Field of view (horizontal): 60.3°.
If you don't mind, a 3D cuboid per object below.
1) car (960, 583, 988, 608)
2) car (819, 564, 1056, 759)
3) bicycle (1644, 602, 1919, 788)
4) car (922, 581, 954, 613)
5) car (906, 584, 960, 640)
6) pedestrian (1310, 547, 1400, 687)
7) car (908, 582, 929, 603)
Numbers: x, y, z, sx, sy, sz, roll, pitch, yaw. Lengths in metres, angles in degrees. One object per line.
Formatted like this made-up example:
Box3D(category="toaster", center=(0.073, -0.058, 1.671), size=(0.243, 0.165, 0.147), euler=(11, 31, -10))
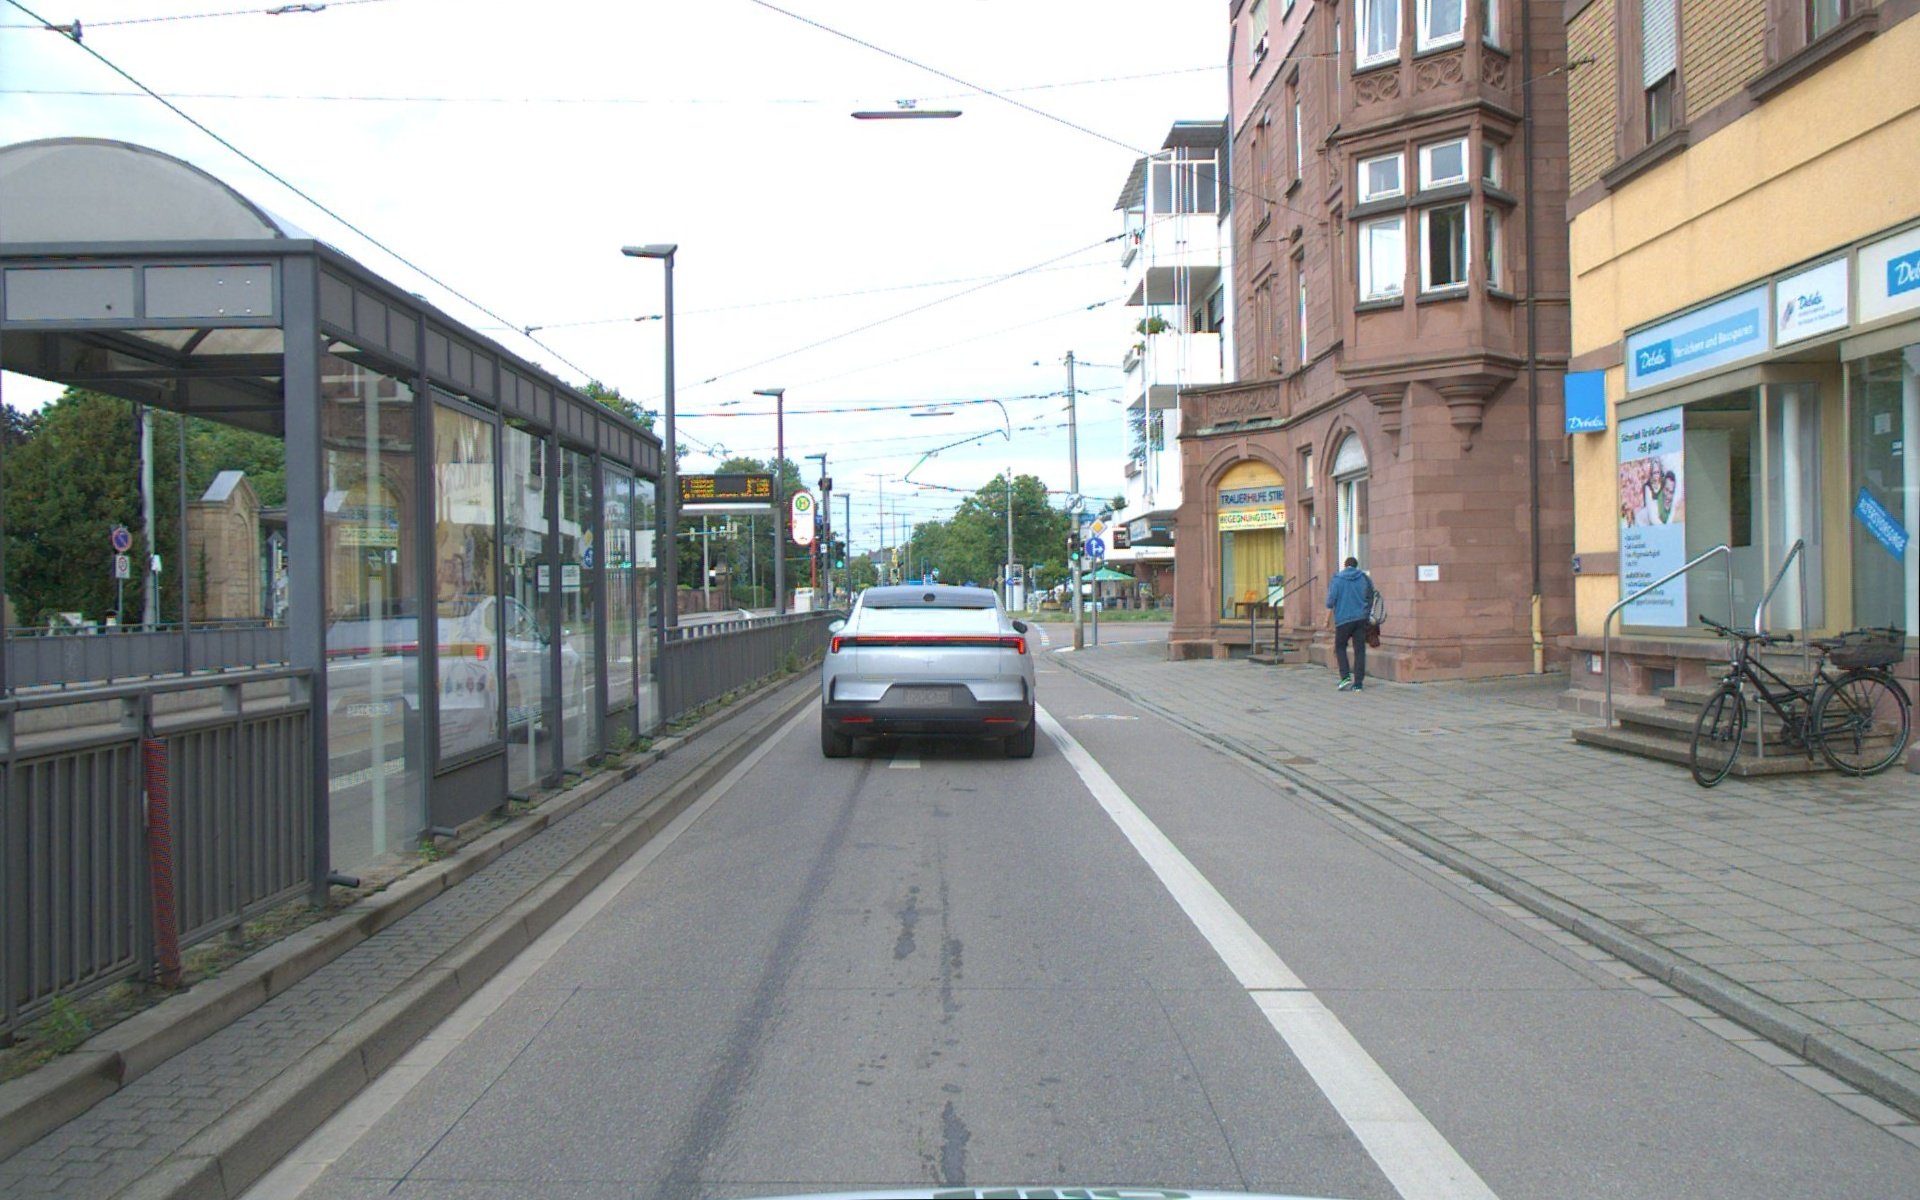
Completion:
Box3D(category="car", center=(1.400, -0.435, 170.984), size=(2.750, 2.549, 5.721), euler=(0, 0, -1))
Box3D(category="car", center=(-0.346, 0.533, 15.769), size=(1.960, 1.608, 3.995), euler=(0, -1, -5))
Box3D(category="bicycle", center=(5.779, 0.639, 11.483), size=(1.742, 1.149, 0.642), euler=(-3, 0, -2))
Box3D(category="car", center=(-1.731, -0.225, 129.924), size=(2.182, 2.444, 5.118), euler=(0, 0, -4))
Box3D(category="car", center=(-0.845, 0.380, 52.632), size=(1.647, 1.717, 3.823), euler=(0, 0, -1))
Box3D(category="pedestrian", center=(5.569, 0.229, 23.359), size=(0.941, 1.882, 0.975), euler=(-3, 1, -1))
Box3D(category="car", center=(-4.098, -0.729, 163.149), size=(1.953, 2.049, 3.999), euler=(-1, 0, -1))
